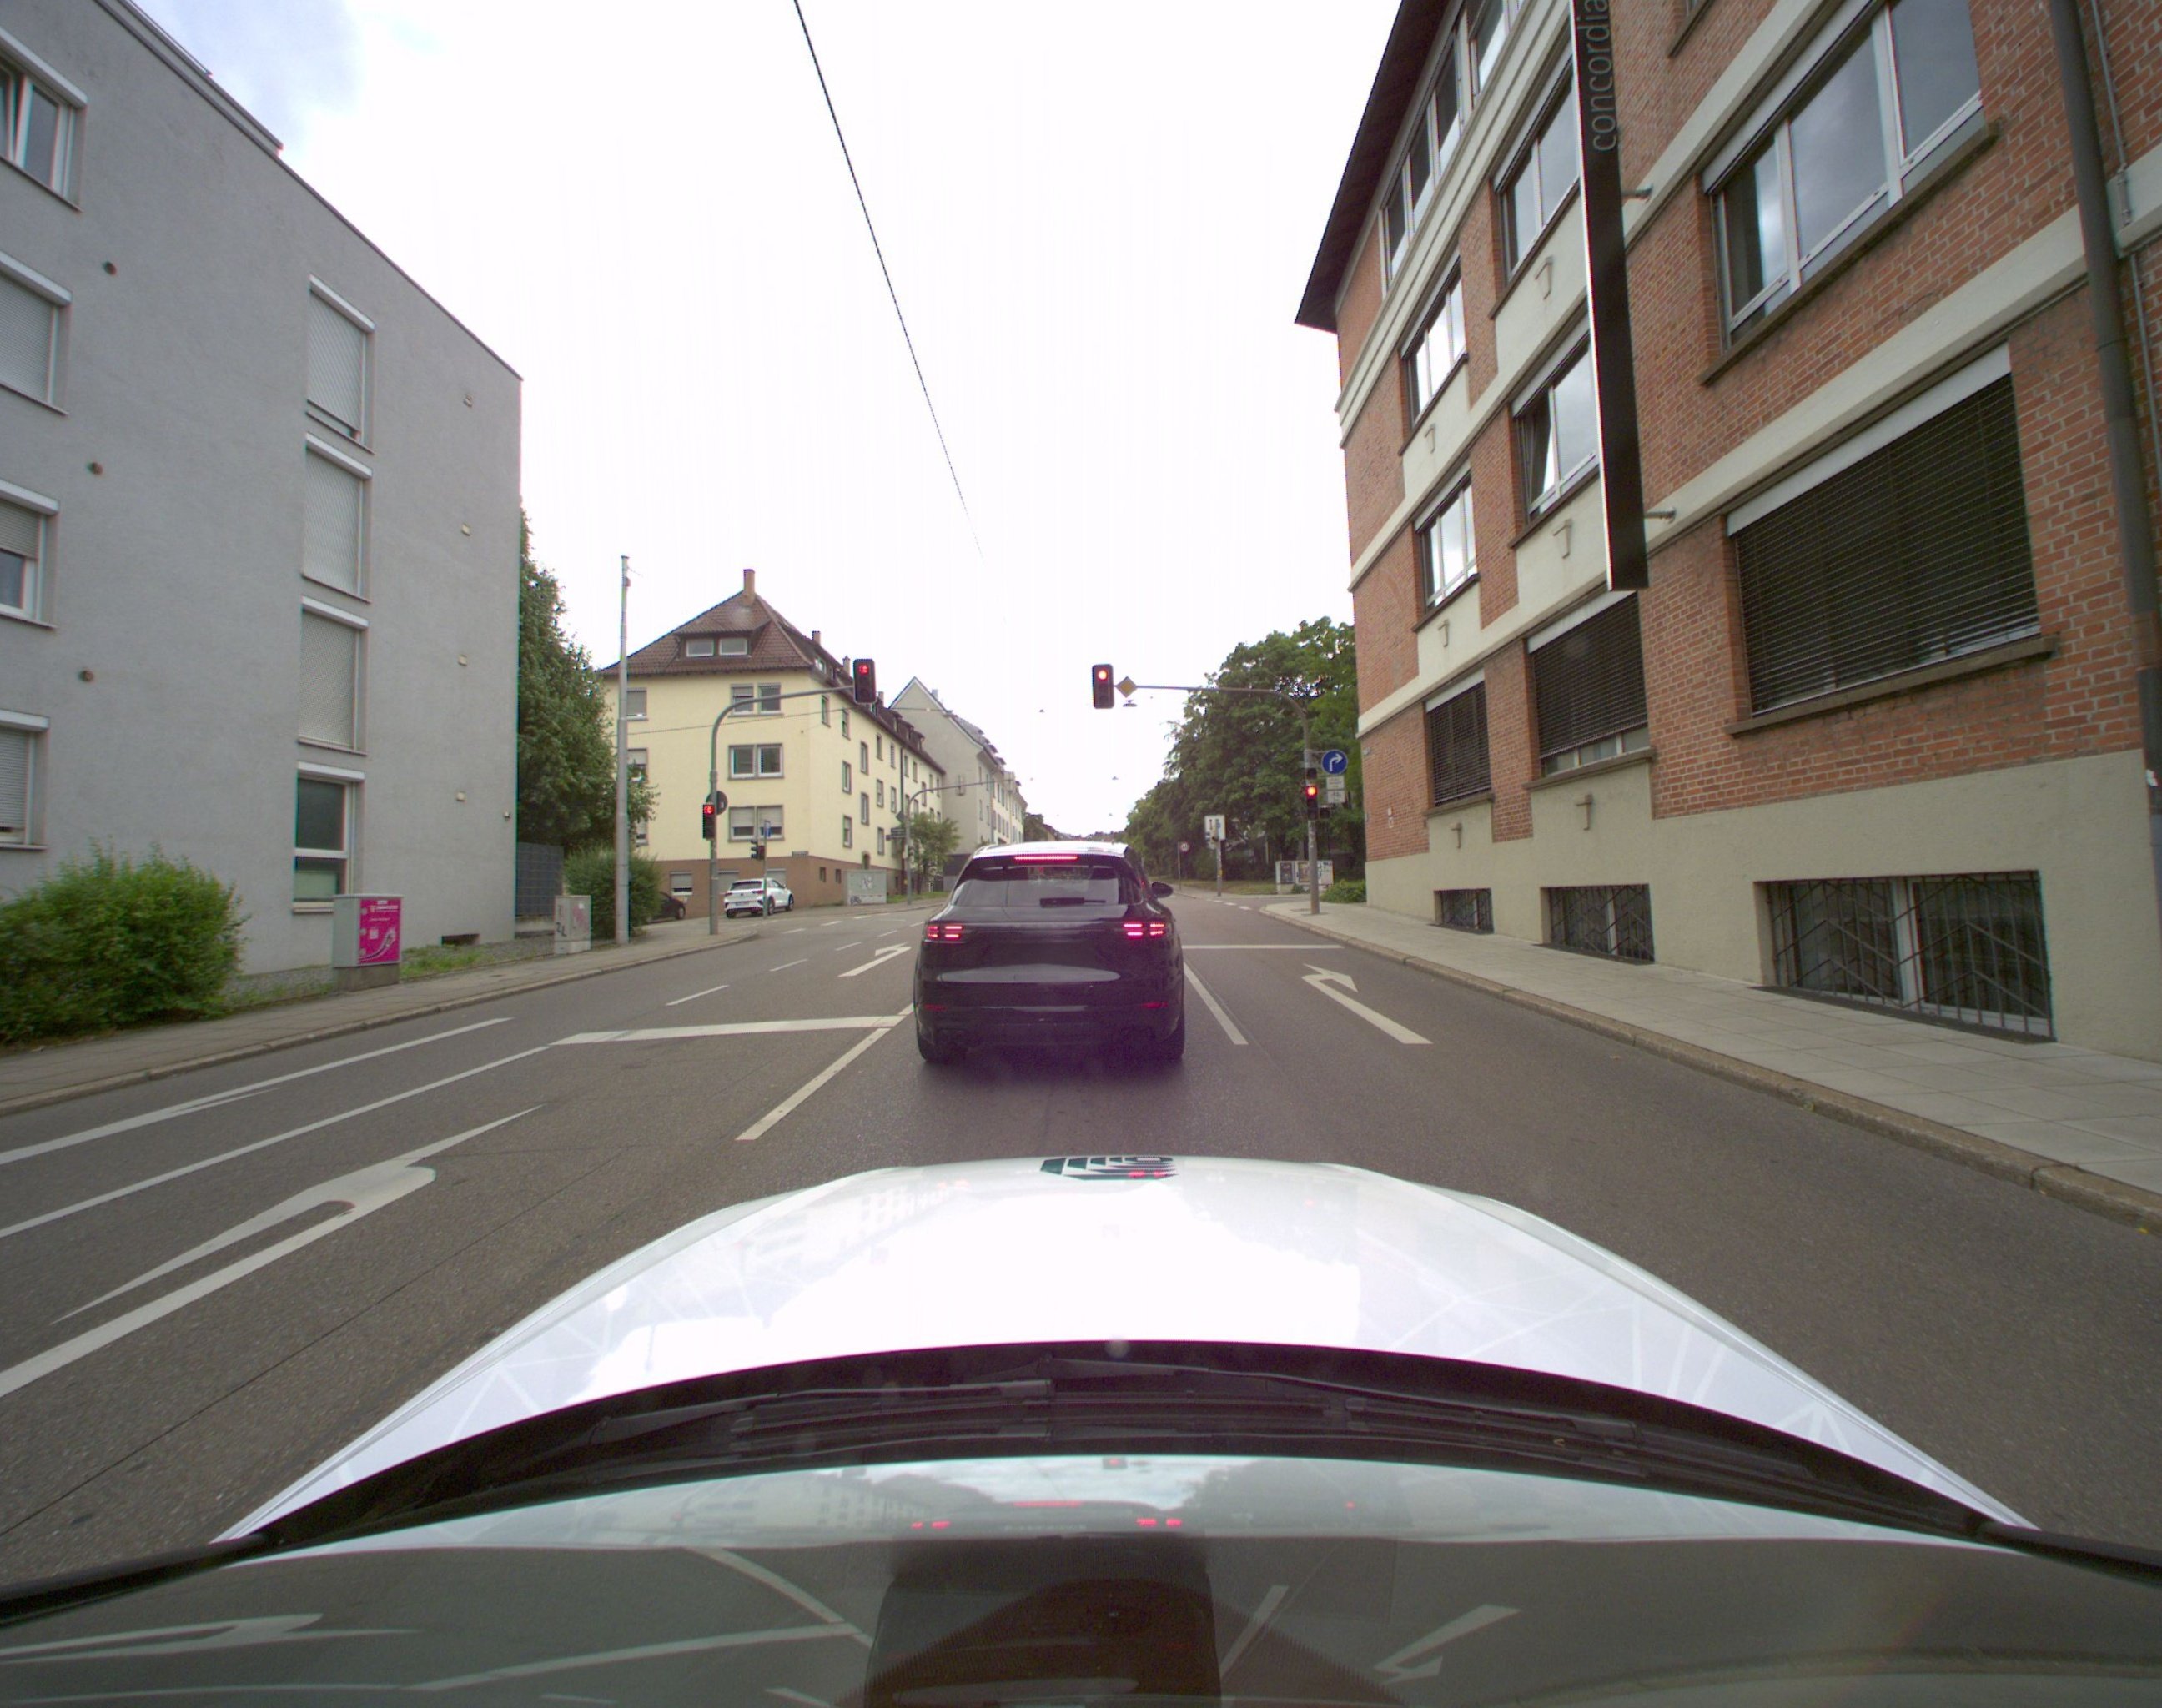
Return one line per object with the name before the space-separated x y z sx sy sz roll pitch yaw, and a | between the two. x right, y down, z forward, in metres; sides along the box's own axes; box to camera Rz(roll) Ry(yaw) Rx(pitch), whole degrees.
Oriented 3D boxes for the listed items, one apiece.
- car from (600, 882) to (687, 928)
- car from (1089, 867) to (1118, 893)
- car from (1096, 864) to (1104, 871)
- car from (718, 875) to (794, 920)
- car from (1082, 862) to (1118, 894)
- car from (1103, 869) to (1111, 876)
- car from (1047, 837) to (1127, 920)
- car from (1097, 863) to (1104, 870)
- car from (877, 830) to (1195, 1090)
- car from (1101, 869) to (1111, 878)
car | -18.502 2.133 34.650 1.686 1.608 3.763 -4 0 -2
car | 1.465 1.646 52.645 1.820 1.605 3.860 0 0 2
car | 4.680 3.270 203.061 1.820 1.605 4.137 0 0 2
car | -13.538 1.770 34.185 1.686 1.555 3.763 -4 0 -2
car | 1.049 1.268 43.937 1.820 1.605 4.137 0 0 2
car | 5.886 4.108 182.539 1.820 1.605 4.137 0 0 2
car | 0.220 0.601 22.029 1.957 2.042 4.137 0 0 2
car | 5.100 3.244 210.383 1.820 1.605 4.137 0 0 2
car | -0.215 0.687 7.378 2.040 1.666 4.269 0 0 2
car | 5.047 3.878 163.372 1.820 1.605 4.137 0 0 2
